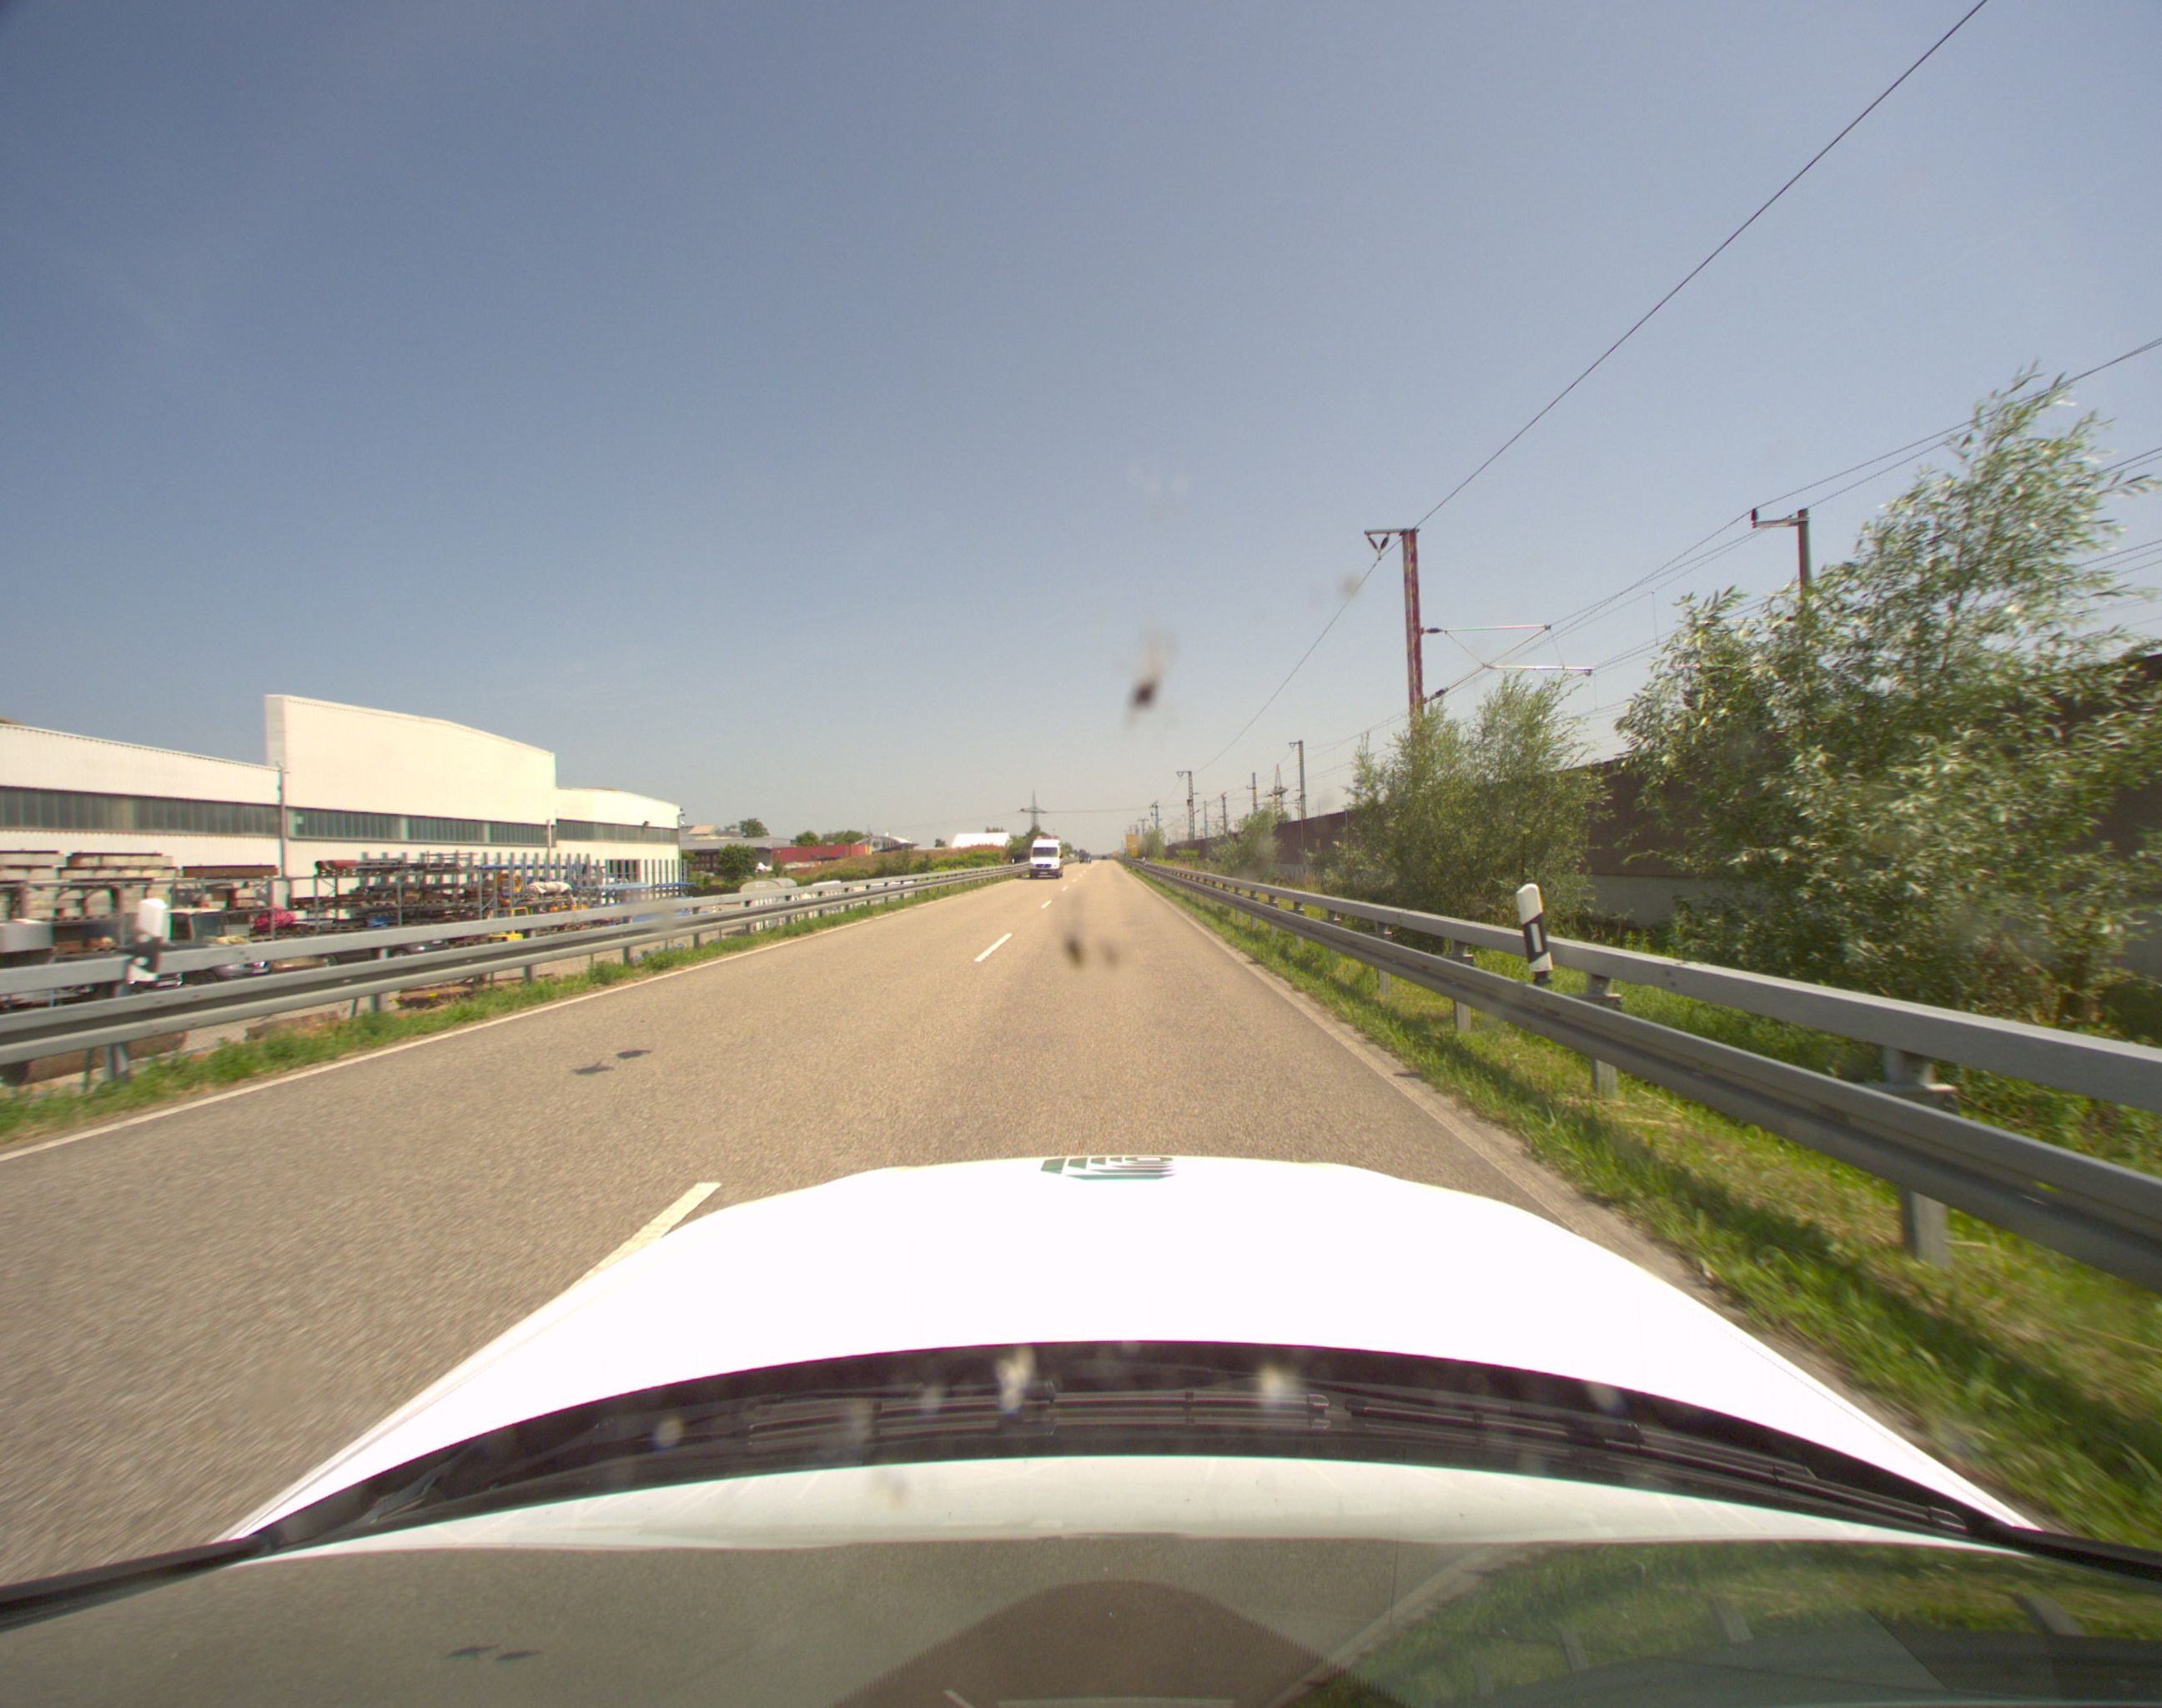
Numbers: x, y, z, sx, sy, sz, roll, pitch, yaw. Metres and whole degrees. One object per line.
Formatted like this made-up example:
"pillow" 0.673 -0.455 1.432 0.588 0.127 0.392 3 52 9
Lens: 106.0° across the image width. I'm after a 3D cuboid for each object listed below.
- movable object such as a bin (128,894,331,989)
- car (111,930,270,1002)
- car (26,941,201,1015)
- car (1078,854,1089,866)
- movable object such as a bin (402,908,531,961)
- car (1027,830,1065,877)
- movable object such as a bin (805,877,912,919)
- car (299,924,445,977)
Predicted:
"movable object such as a bin" -30.540 3.076 29.364 4.539 2.680 2.128 -6 -1 -7
"car" -29.014 3.620 26.619 3.123 1.773 1.674 -6 -1 -2
"car" -29.248 3.725 24.686 3.247 1.674 1.465 -6 -1 -4
"car" 0.453 1.008 143.807 1.886 2.014 5.371 0 0 1
"movable object such as a bin" -25.584 3.321 34.031 3.856 2.014 1.848 0 -1 -6
"car" -2.301 0.003 54.850 2.071 2.962 6.731 0 0 1
"movable object such as a bin" -13.765 2.728 50.718 5.884 2.019 2.446 -4 0 -4
"car" -27.535 3.713 31.731 3.980 1.521 1.722 -5 -1 -4
